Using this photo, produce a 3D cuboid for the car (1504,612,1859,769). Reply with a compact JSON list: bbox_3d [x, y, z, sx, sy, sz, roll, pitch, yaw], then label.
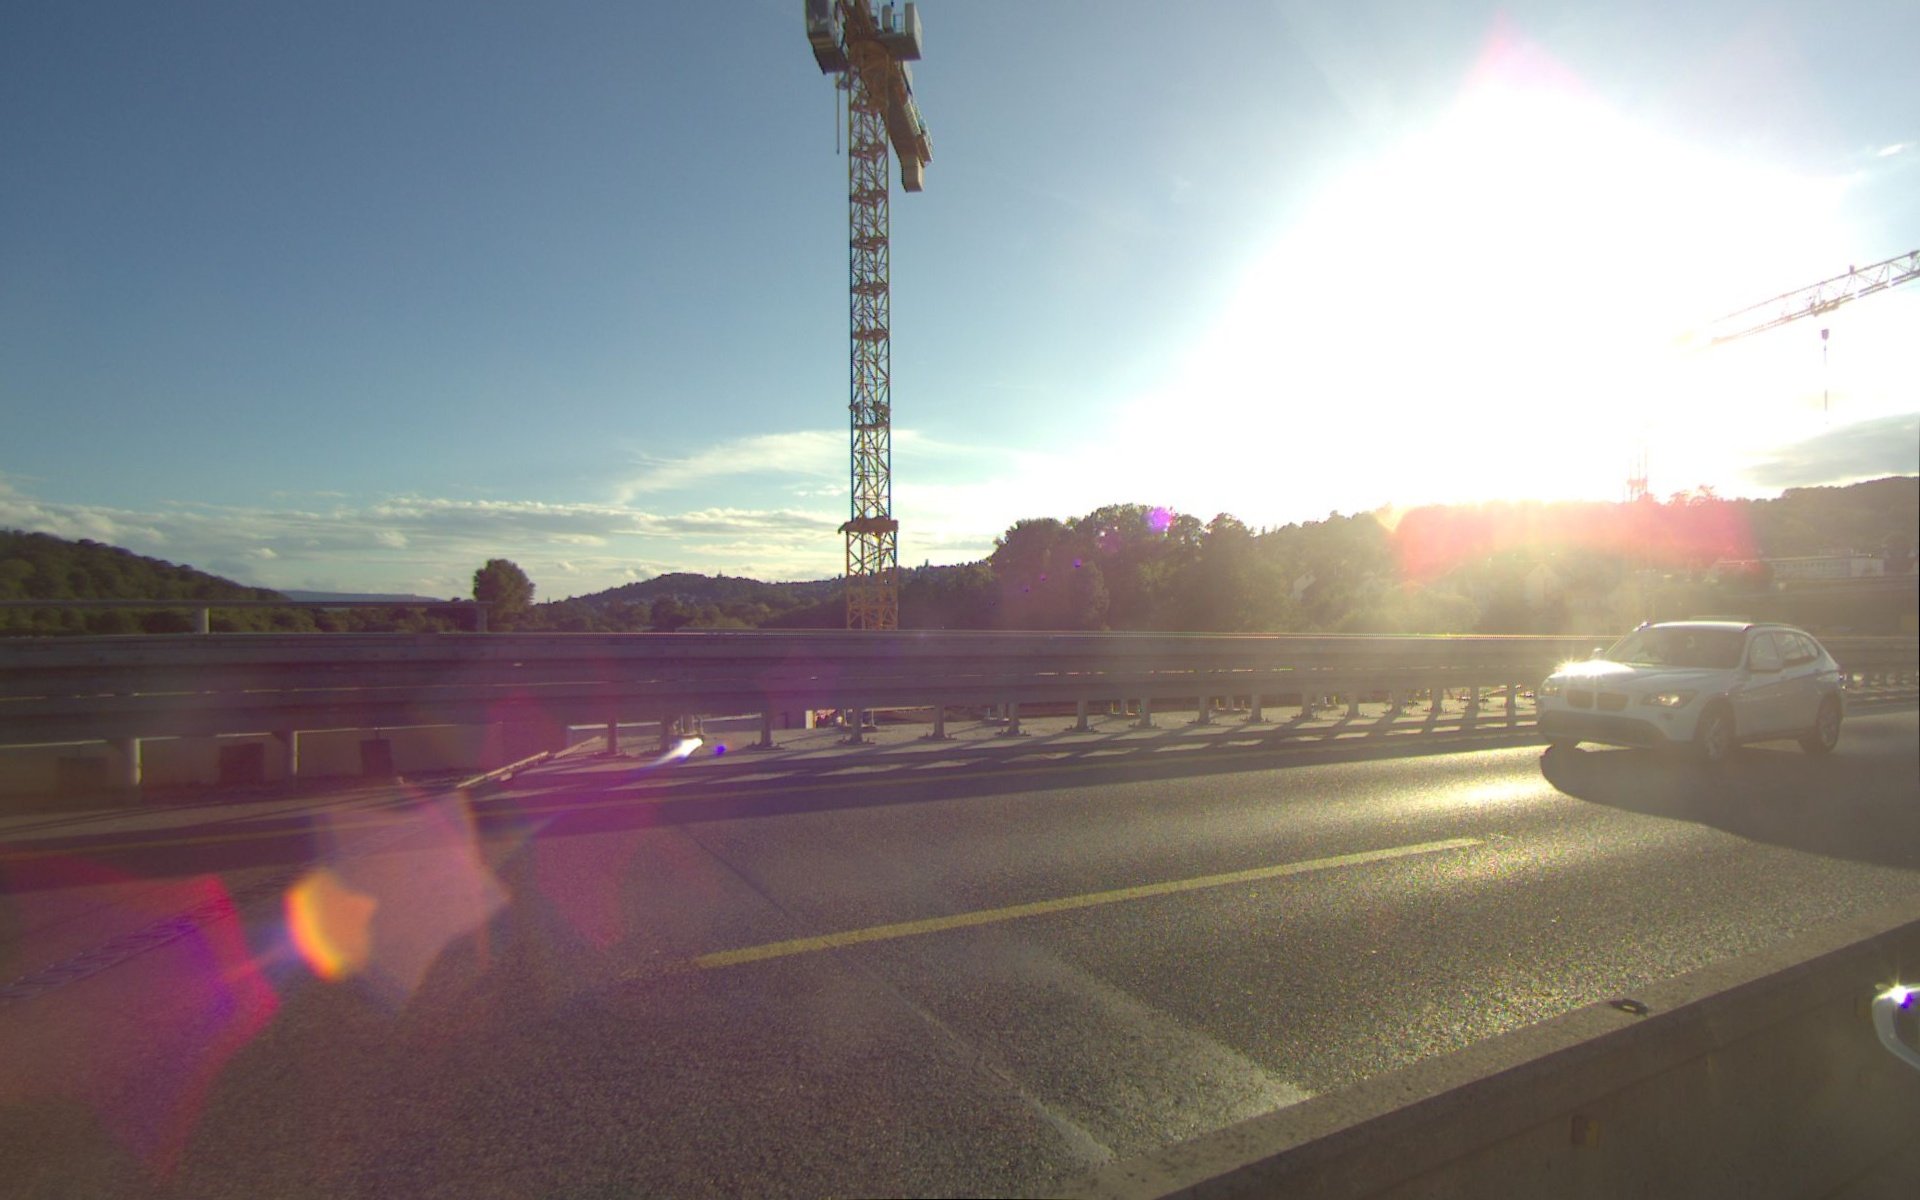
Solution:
[{"bbox_3d":[8.784,0.966,12.174,4.237,1.567,1.920,1,0,-30],"label":"car"}]
